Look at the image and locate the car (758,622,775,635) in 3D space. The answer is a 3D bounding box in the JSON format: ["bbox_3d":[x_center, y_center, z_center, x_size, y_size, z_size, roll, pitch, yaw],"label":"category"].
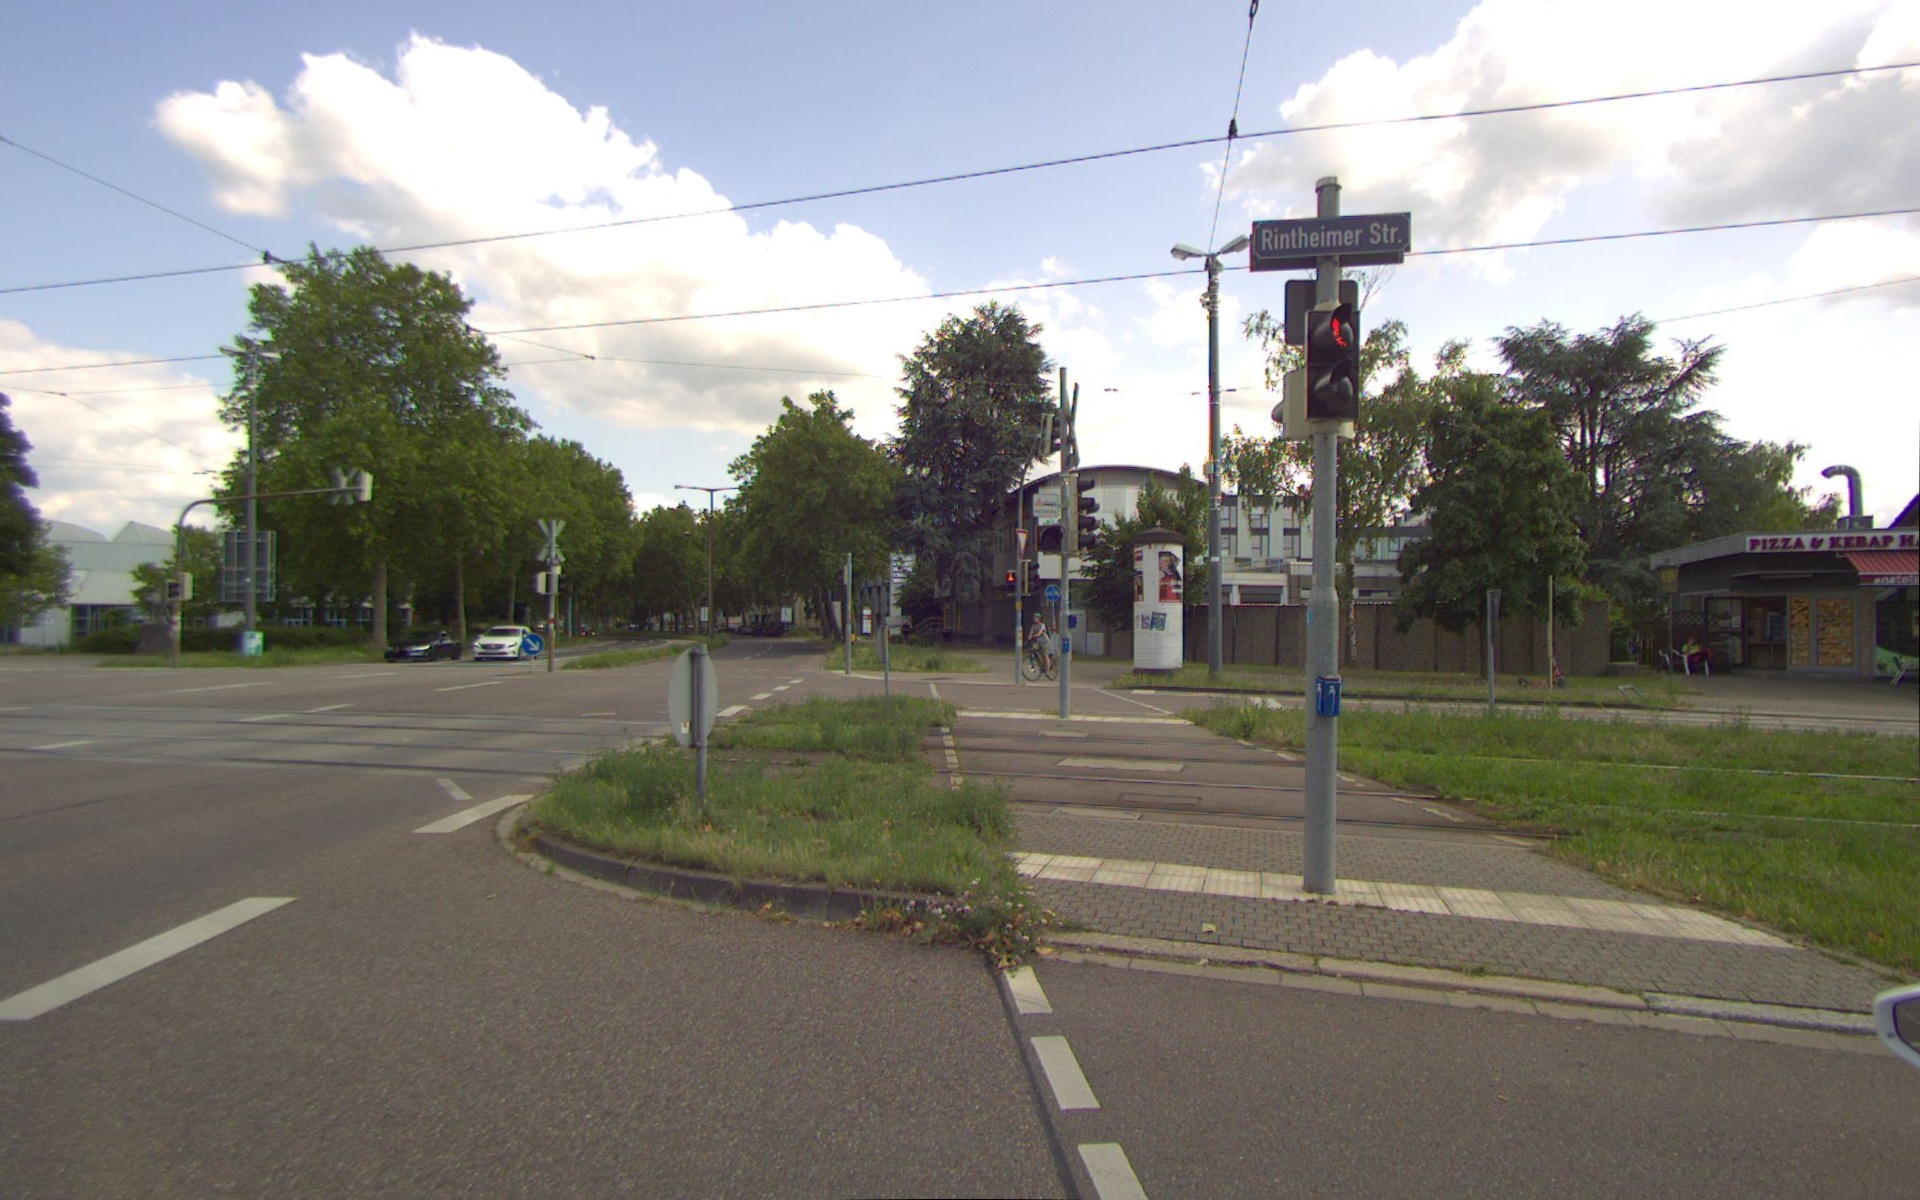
[{"bbox_3d":[-26.336,3.914,136.537,1.968,1.595,3.985,0,1,-17],"label":"car"}]

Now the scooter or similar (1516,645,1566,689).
[{"bbox_3d":[15.261,1.762,26.402,1.087,1.074,0.400,1,1,38],"label":"scooter or similar"}]

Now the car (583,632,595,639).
[{"bbox_3d":[-61.561,5.875,166.573,1.614,1.207,3.694,1,-2,-18],"label":"car"}]

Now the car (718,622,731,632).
[{"bbox_3d":[-40.764,4.696,173.762,1.968,1.595,3.985,0,1,-17],"label":"car"}]

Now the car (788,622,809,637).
[{"bbox_3d":[-18.961,3.439,117.803,1.968,1.595,3.985,0,1,-17],"label":"car"}]

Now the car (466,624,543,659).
[{"bbox_3d":[-19.212,1.736,42.551,1.797,1.382,4.133,1,-1,-7],"label":"car"}]

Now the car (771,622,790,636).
[{"bbox_3d":[-22.990,3.712,128.818,1.968,1.595,3.985,0,1,-17],"label":"car"}]

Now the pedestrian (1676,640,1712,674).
[{"bbox_3d":[21.617,1.667,29.586,0.714,0.941,0.776,1,1,27],"label":"pedestrian"}]

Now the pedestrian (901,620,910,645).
[{"bbox_3d":[-3.620,2.151,66.659,0.611,1.590,0.559,0,1,-6],"label":"pedestrian"}]

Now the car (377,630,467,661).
[{"bbox_3d":[-22.194,1.866,41.600,1.607,1.207,3.709,0,-1,2],"label":"car"}]

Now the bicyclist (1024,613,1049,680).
[{"bbox_3d":[2.152,1.294,28.072,0.531,1.834,0.544,1,1,25],"label":"bicyclist"}]

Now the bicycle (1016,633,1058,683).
[{"bbox_3d":[2.175,1.595,28.134,0.531,1.252,1.950,1,1,25],"label":"bicycle"}]
